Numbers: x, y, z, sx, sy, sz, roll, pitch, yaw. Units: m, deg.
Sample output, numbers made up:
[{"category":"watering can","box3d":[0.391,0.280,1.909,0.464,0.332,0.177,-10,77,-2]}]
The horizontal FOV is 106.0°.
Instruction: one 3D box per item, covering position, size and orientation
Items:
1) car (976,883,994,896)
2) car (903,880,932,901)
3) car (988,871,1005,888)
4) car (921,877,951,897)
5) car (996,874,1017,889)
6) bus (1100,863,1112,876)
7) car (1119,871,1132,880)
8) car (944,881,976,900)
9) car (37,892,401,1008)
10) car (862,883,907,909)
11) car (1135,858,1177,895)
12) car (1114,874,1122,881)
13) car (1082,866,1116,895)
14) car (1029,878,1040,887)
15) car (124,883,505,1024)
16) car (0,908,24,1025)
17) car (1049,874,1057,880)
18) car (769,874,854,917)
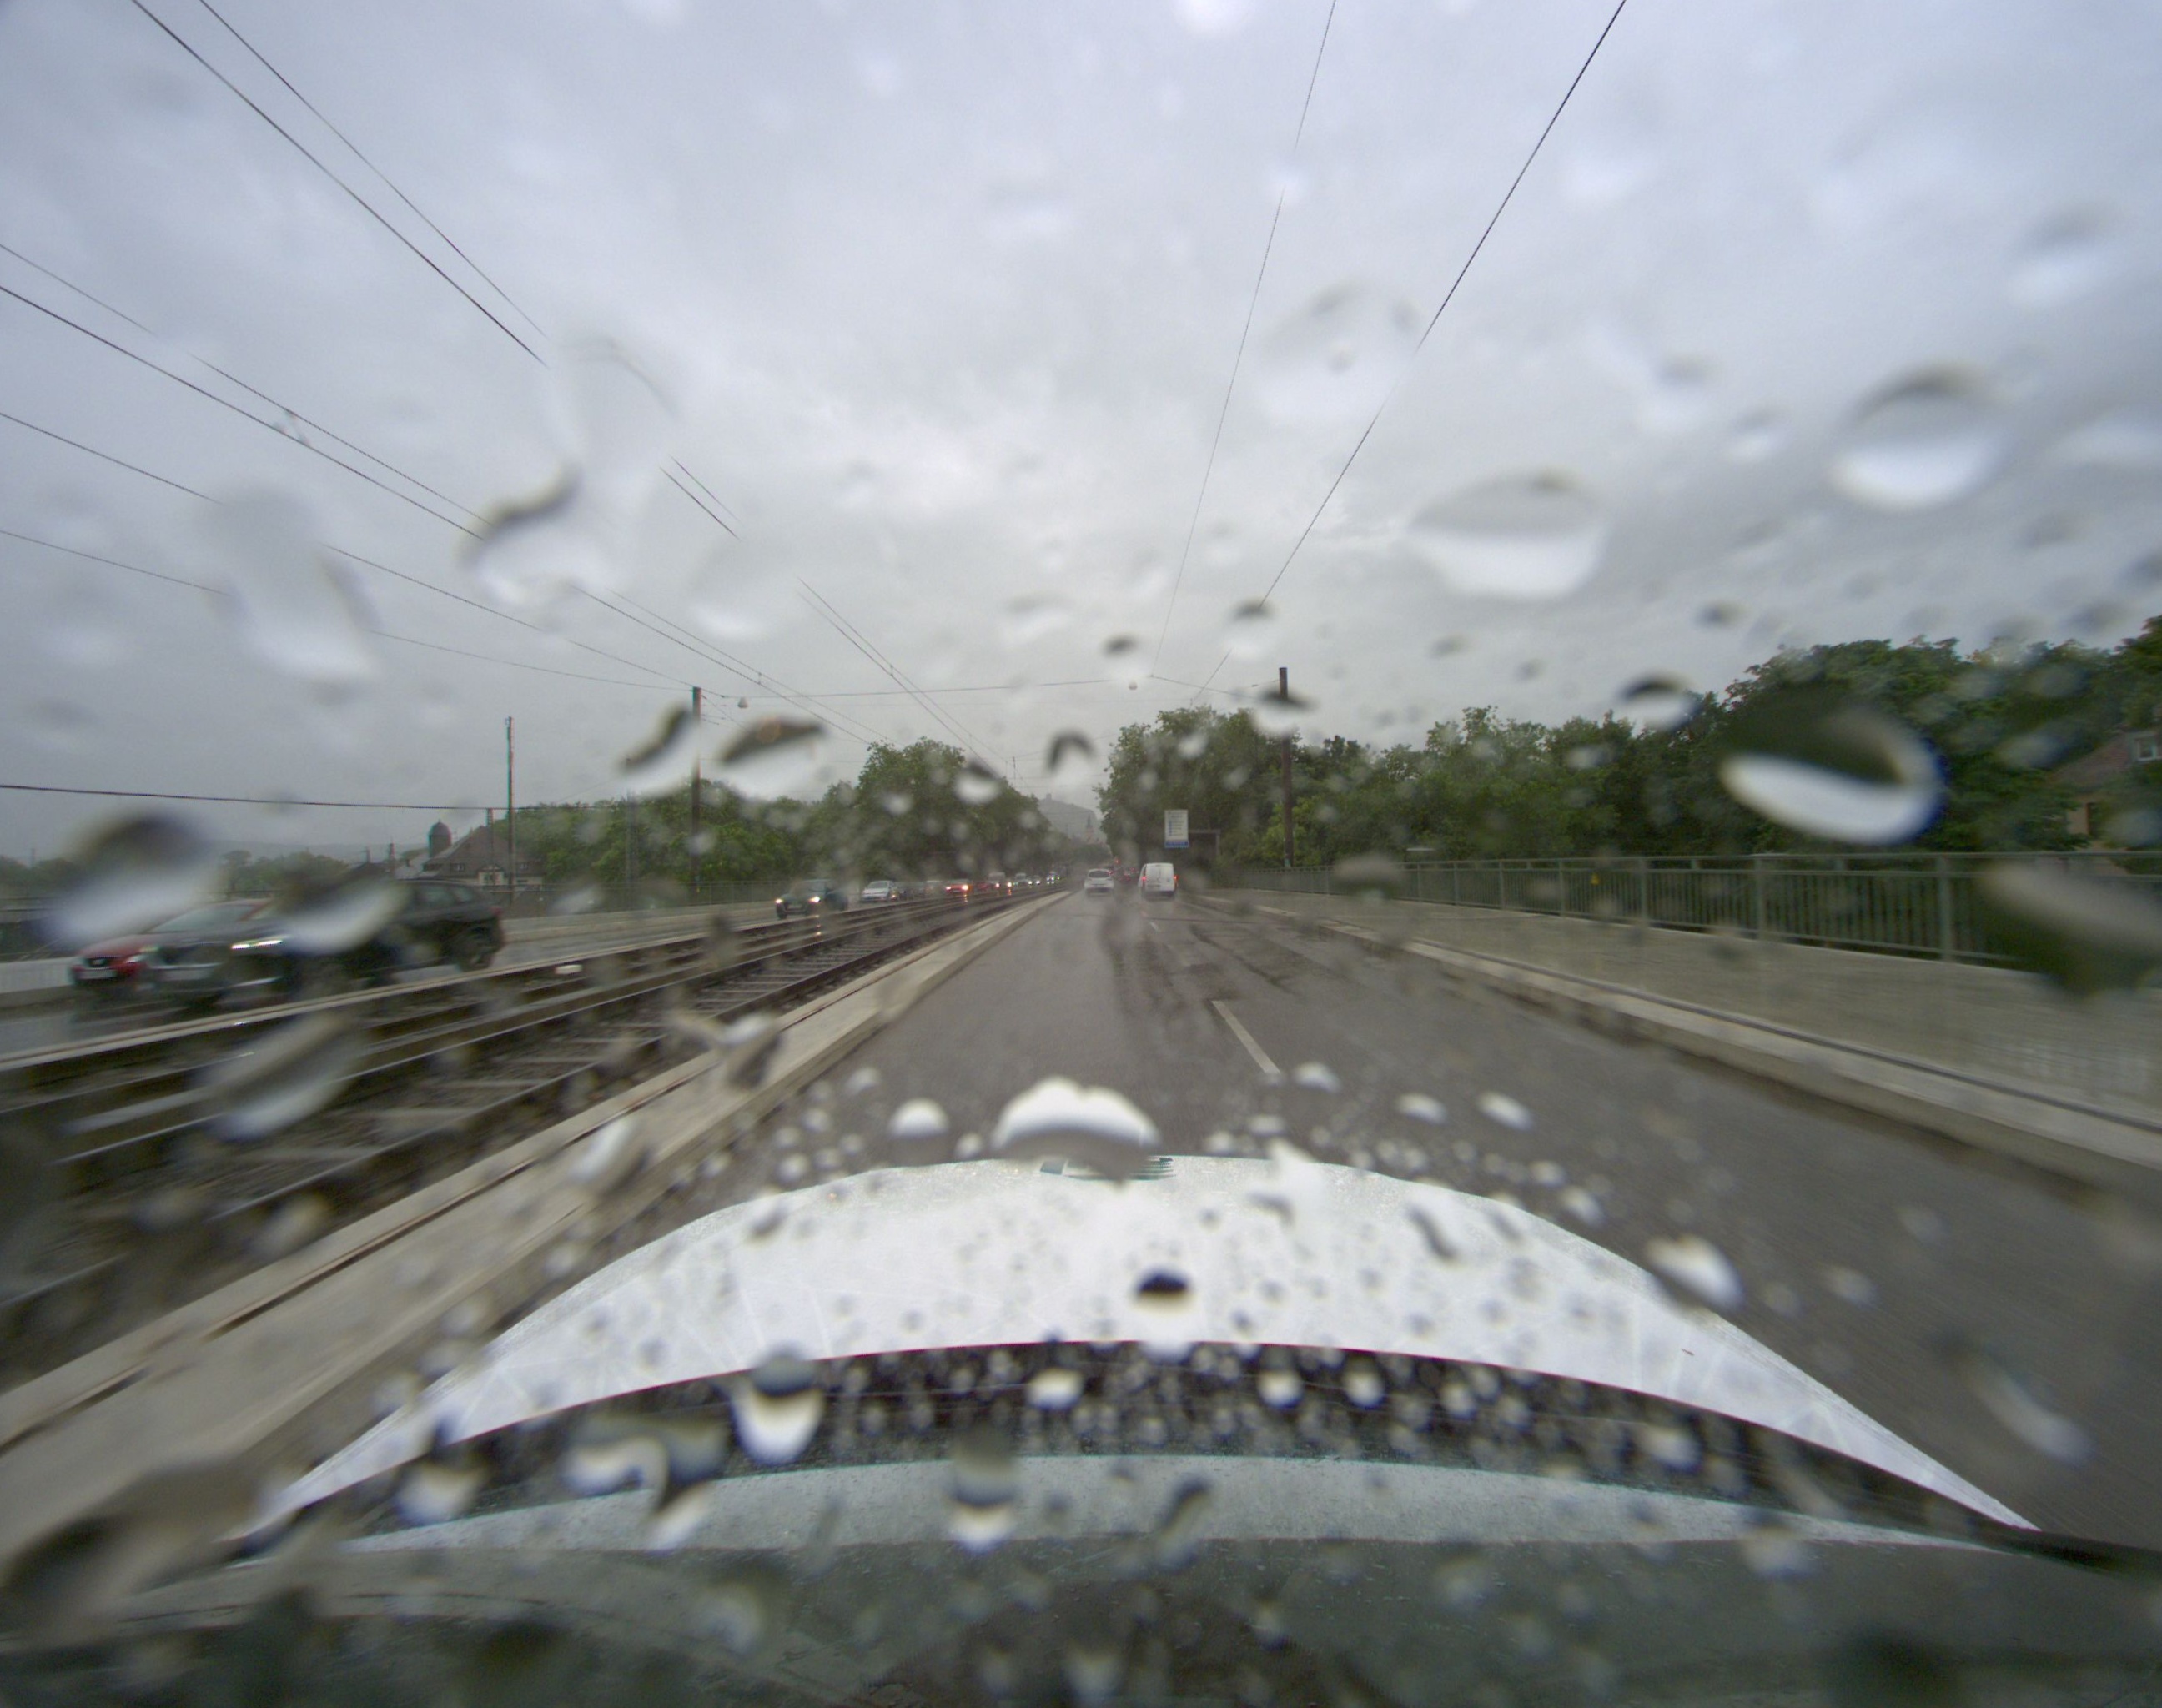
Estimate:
[{"category":"car","box3d":[-11.757,4.333,100.012,1.604,1.442,4.263,-3,-1,1]},{"category":"car","box3d":[-12.987,2.873,64.890,1.502,1.401,4.403,-3,-1,-3]},{"category":"car","box3d":[-11.958,3.545,115.555,1.735,2.169,5.813,-3,-1,0]},{"category":"car","box3d":[-12.639,2.853,71.148,1.501,1.400,4.893,-7,-1,0]},{"category":"car","box3d":[-8.621,3.169,94.553,1.809,1.368,4.268,0,2,2]},{"category":"bus","box3d":[7.925,4.846,252.303,3.375,3.837,9.747,0,-1,4]},{"category":"car","box3d":[7.077,3.443,129.897,1.985,1.321,4.004,0,-1,4]},{"category":"car","box3d":[-9.591,2.901,64.951,1.792,1.316,4.085,0,-1,2]},{"category":"car","box3d":[-14.461,1.505,14.112,1.615,1.455,4.322,-3,-1,1]},{"category":"car","box3d":[-13.082,2.788,54.507,1.857,1.455,4.319,-3,-1,1]},{"category":"car","box3d":[3.665,1.094,40.559,1.985,1.726,4.004,0,-1,4]},{"category":"car","box3d":[9.455,6.022,210.504,1.985,1.827,4.004,0,-1,4]},{"category":"car","box3d":[1.174,1.644,50.975,1.985,1.717,4.004,0,-1,4]},{"category":"car","box3d":[-8.424,5.166,148.753,1.500,1.401,4.709,-3,-1,2]},{"category":"car","box3d":[-11.000,1.315,12.188,1.811,1.654,4.002,0,-1,2]},{"category":"car","box3d":[-14.544,1.449,8.081,1.987,1.455,4.620,-3,-1,1]},{"category":"car","box3d":[-7.570,6.278,221.692,1.798,1.350,4.265,-3,-1,1]},{"category":"car","box3d":[-10.286,1.557,31.431,1.792,1.482,4.085,0,-1,2]}]
